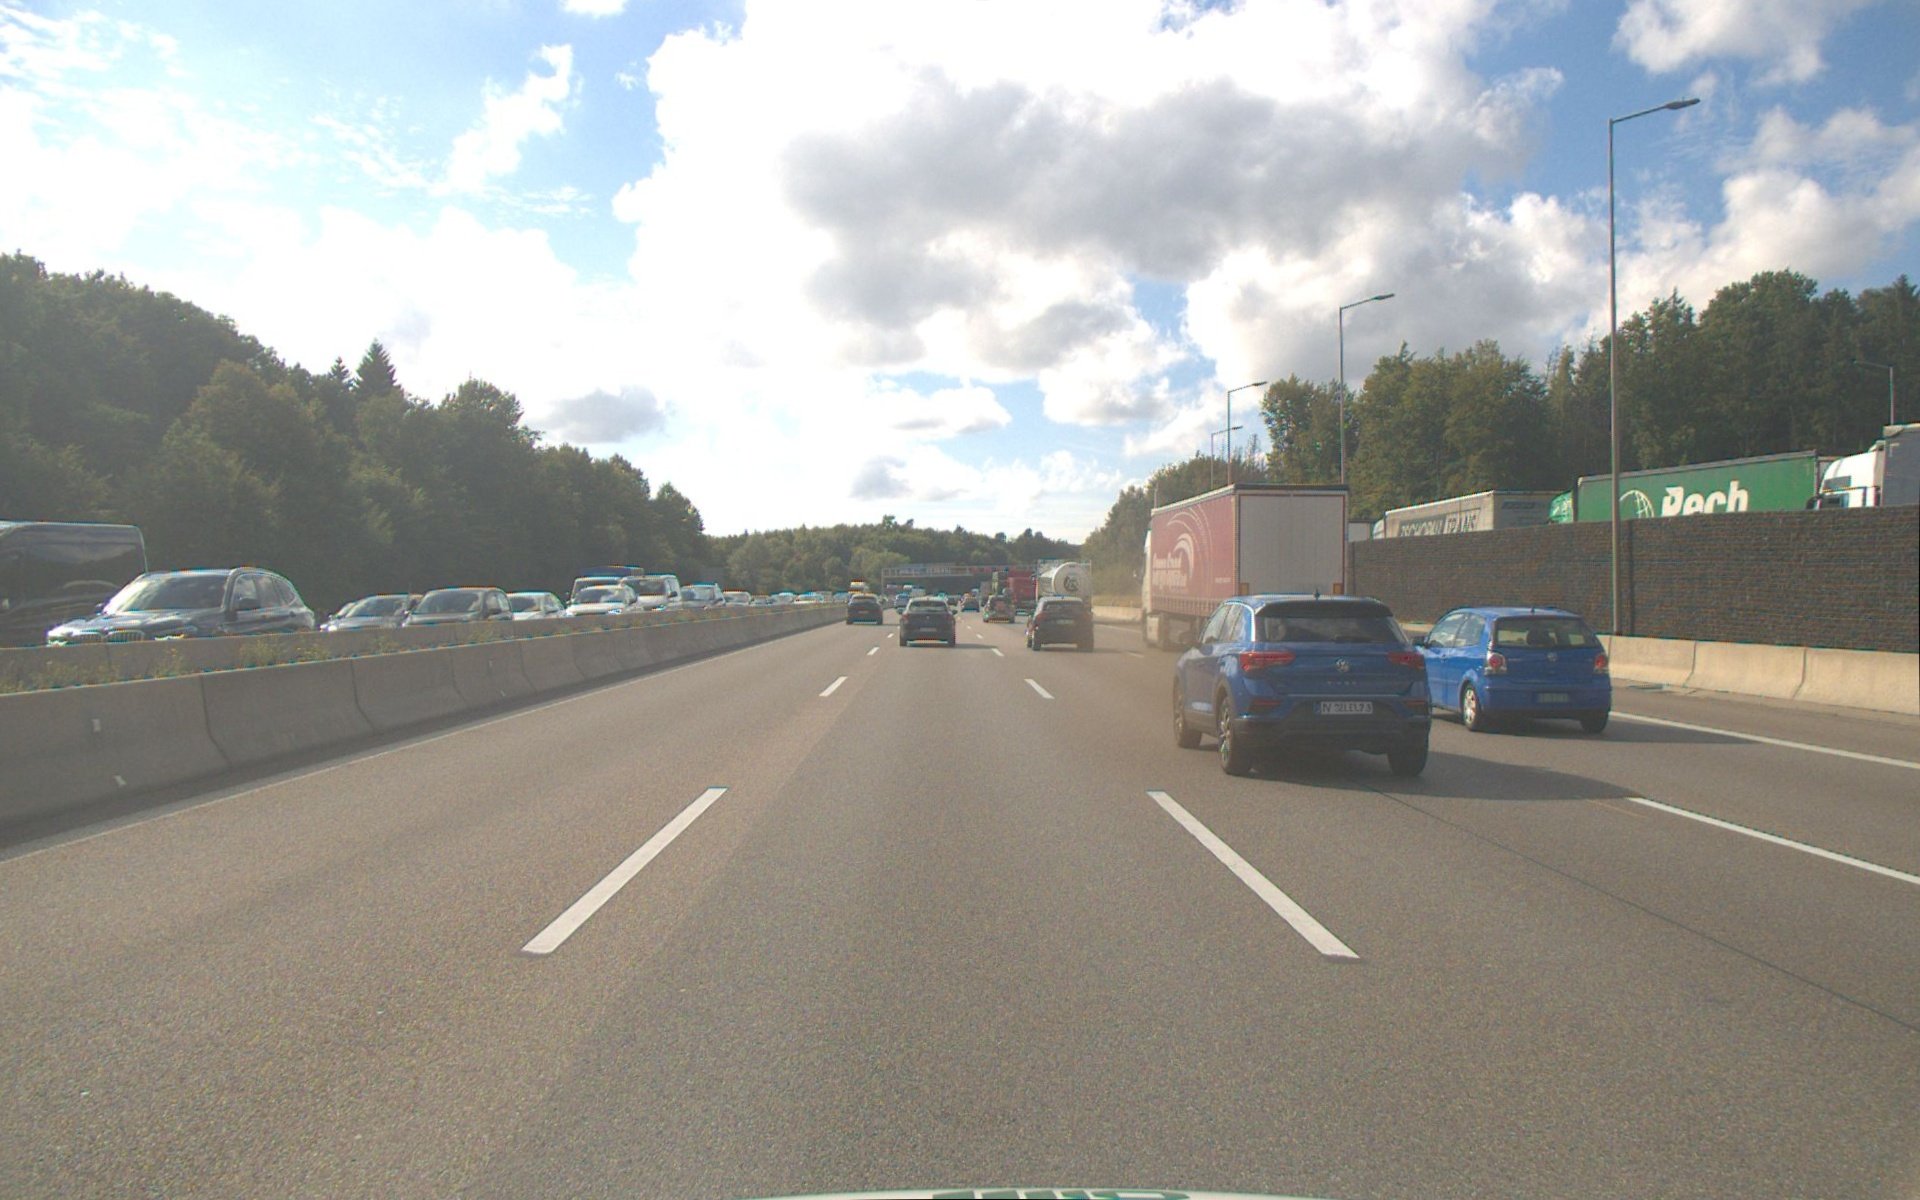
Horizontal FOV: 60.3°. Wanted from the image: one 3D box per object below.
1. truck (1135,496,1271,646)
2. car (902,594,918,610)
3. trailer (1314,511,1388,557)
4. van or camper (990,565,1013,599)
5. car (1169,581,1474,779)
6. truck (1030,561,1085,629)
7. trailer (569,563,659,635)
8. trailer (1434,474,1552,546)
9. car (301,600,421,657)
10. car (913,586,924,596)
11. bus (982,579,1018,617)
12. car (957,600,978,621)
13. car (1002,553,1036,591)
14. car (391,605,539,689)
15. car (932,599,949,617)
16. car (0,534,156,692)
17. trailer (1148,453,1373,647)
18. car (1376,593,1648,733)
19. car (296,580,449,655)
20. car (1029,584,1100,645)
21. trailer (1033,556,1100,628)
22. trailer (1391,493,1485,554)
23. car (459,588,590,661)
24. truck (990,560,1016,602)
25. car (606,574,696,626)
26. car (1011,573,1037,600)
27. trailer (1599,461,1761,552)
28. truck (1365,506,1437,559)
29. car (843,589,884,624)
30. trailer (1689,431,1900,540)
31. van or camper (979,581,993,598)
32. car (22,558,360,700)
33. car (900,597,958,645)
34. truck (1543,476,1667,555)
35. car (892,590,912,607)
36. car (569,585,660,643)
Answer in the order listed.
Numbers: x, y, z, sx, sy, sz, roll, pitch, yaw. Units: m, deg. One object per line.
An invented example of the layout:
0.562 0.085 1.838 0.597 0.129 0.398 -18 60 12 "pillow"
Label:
7.078 -0.719 49.070 3.018 4.135 6.067 1 -2 -1 "truck"
-6.540 0.257 217.285 1.954 2.049 3.997 1 0 -3 "car"
19.536 -3.275 82.981 2.087 2.049 6.320 -1 0 -1 "trailer"
4.263 -1.846 171.234 2.303 3.199 5.710 1 -2 0 "van or camper"
3.240 0.664 15.796 1.884 1.568 4.645 1 0 0 "car"
6.229 -0.236 106.696 2.984 4.233 7.124 0 -1 -1 "truck"
-14.491 -0.014 69.756 2.233 2.834 8.538 1 0 -2 "trailer"
19.685 -3.277 61.493 2.009 2.049 6.961 1 -2 -1 "trailer"
-17.778 0.811 49.322 1.953 1.600 4.357 1 0 0 "car"
-6.479 -1.386 257.263 1.590 1.496 3.814 2 -1 0 "car"
2.311 -0.094 97.008 1.953 2.049 3.999 1 -2 -1 "bus"
0.771 1.032 167.536 1.953 2.049 3.999 1 -1 -1 "car"
5.193 -2.466 145.988 2.808 3.044 5.148 1 -2 0 "car"
-10.115 0.925 34.075 1.953 1.600 3.511 1 0 0 "car"
-2.296 0.943 192.884 1.953 2.049 3.998 -1 -2 -1 "car"
-13.528 0.153 22.842 1.953 2.068 5.845 1 0 0 "car"
7.216 -0.879 42.284 2.976 4.106 13.885 1 -2 -1 "trailer"
6.678 0.737 20.521 1.681 1.538 4.298 0 -1 -4 "car"
-13.490 0.382 38.258 1.953 1.600 4.357 1 0 0 "car"
3.007 0.435 48.181 1.762 1.673 3.999 1 -1 -1 "car"
6.362 -0.335 100.427 2.974 4.086 12.240 0 -1 -1 "trailer"
19.559 -3.088 67.981 2.003 2.049 6.004 1 -2 -1 "trailer"
-10.331 0.553 39.573 1.953 1.600 4.357 1 0 0 "car"
4.228 -1.835 164.252 2.309 3.635 11.265 1 -2 0 "truck"
-10.347 -0.010 55.759 1.953 1.600 5.329 2 0 0 "car"
5.248 -1.072 136.095 1.953 2.049 3.998 1 -2 -1 "car"
20.140 -2.558 46.605 1.953 2.049 5.773 1 -2 -1 "trailer"
19.438 -2.943 72.994 2.003 2.049 4.094 1 -2 -1 "truck"
-5.088 0.318 87.732 1.953 1.807 4.000 -1 0 -1 "car"
20.319 -2.708 40.662 1.953 2.049 6.190 1 -2 -1 "trailer"
3.917 -1.631 253.323 2.041 2.536 4.224 0 0 -1 "van or camper"
-9.796 0.329 21.646 1.953 1.600 5.207 1 0 0 "car"
-0.963 0.661 50.904 1.699 1.389 3.998 1 -1 -2 "car"
20.085 -2.586 51.718 2.003 2.049 4.780 1 -2 0 "truck"
-6.633 -0.147 189.668 2.111 1.807 3.999 1 -1 -1 "car"
-10.131 0.385 48.786 1.729 1.600 4.357 1 0 0 "car"
